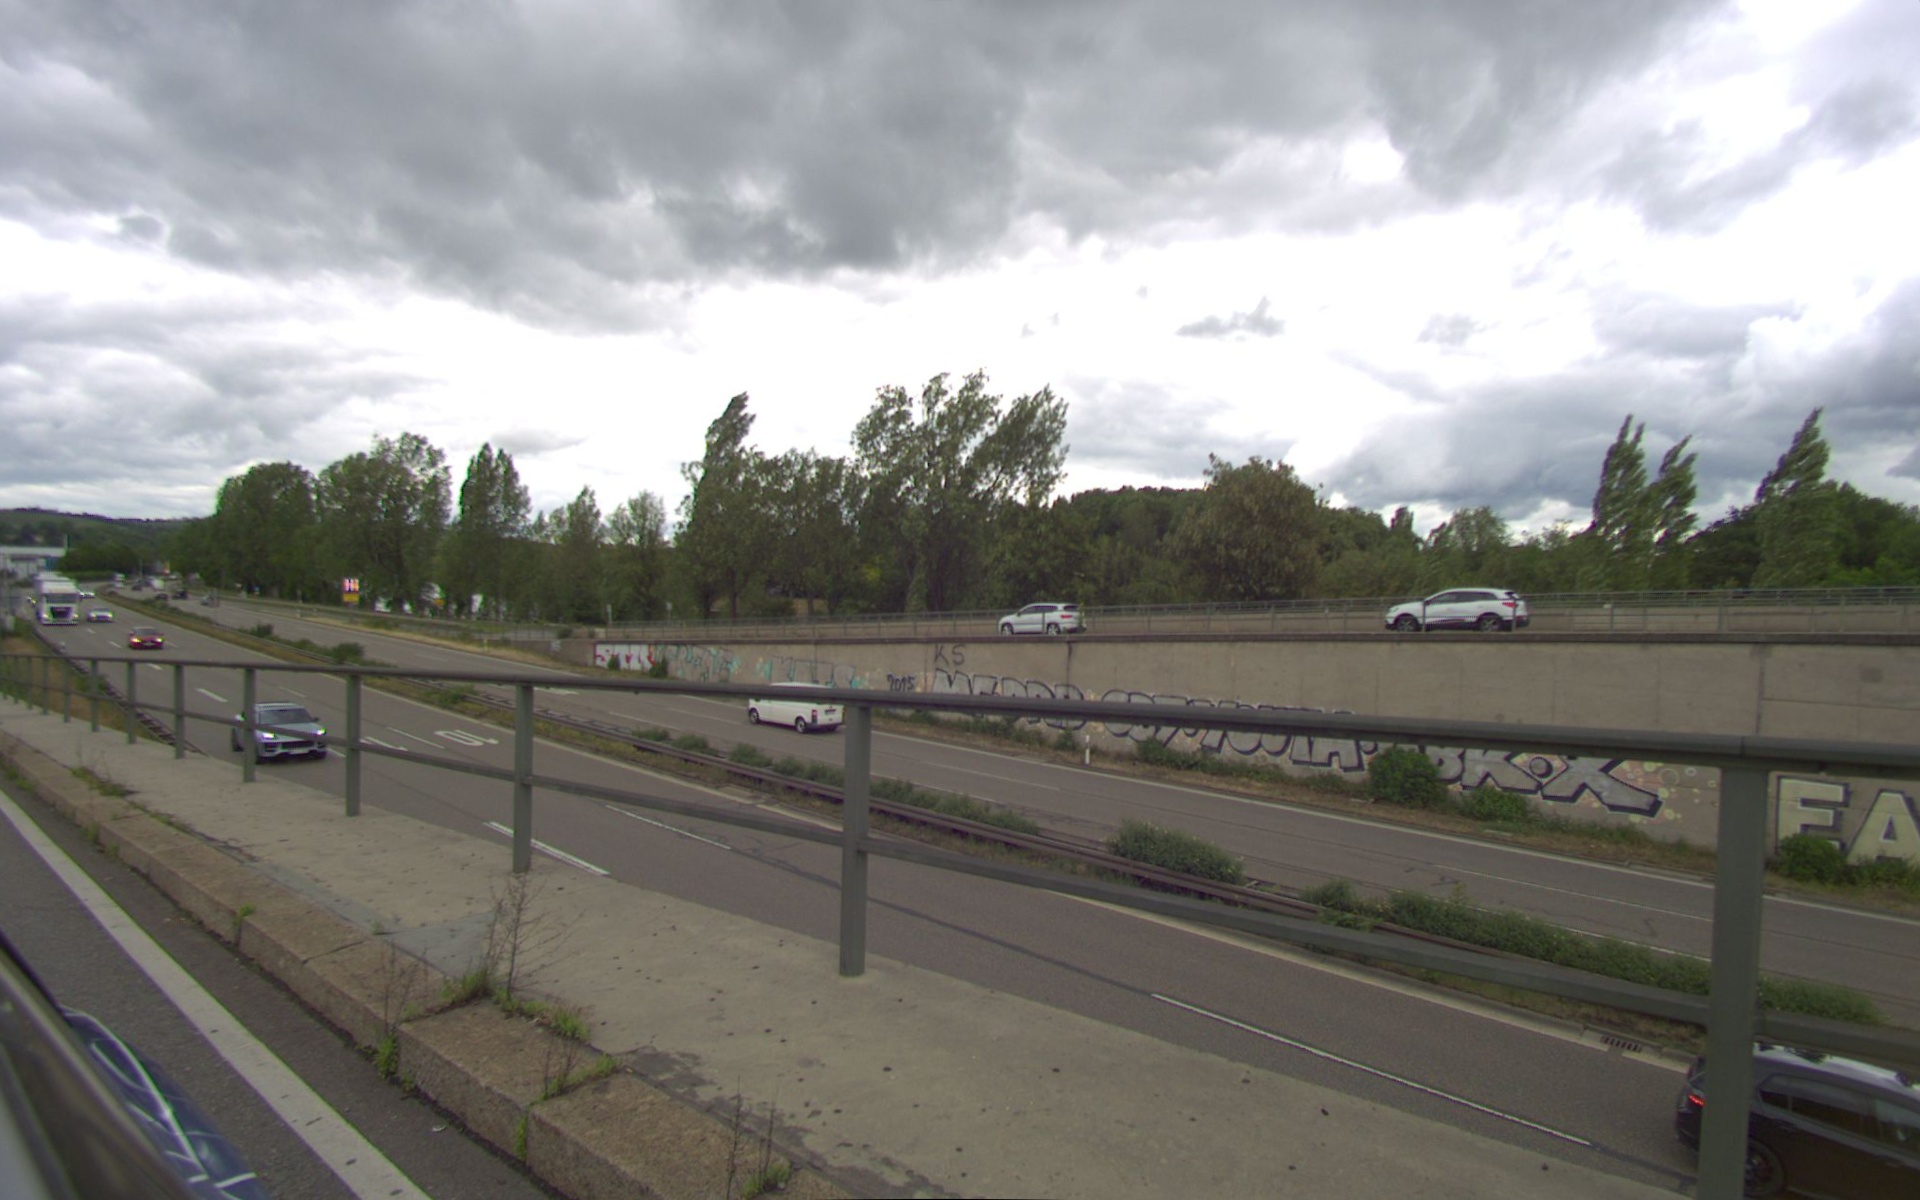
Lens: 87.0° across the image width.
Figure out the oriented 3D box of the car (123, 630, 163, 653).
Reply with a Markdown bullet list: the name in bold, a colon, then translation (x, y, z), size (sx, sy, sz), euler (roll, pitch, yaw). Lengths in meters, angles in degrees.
- **car**: translation (-57.462, 2.890, 71.169), size (4.167, 1.451, 1.732), euler (-1, -1, 44)

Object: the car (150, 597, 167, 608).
- **car**: translation (-130.928, 0.393, 165.300), size (3.859, 1.512, 1.645), euler (3, 0, 43)

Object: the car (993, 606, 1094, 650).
- **car**: translation (3.744, 1.262, 45.860), size (4.211, 1.884, 1.973), euler (-2, -2, 41)

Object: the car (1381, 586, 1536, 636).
- **car**: translation (16.822, 0.412, 34.281), size (4.346, 1.588, 1.813), euler (-2, -2, 43)

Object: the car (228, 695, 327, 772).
- **car**: translation (-22.634, 4.330, 33.496), size (4.281, 1.813, 1.820), euler (4, 2, 43)

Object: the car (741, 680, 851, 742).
- **car**: translation (-7.304, 4.829, 44.666), size (5.177, 2.082, 1.972), euler (2, 1, 42)

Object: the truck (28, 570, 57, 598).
- **truck**: translation (-159.171, -2.775, 175.456), size (11.130, 4.559, 3.136), euler (2, 1, 45)

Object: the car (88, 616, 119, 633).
- **car**: translation (-84.488, 2.410, 99.803), size (4.279, 1.429, 1.894), euler (3, 2, 44)

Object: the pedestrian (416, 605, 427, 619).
- **pedestrian**: translation (-65.606, 1.485, 123.339), size (1.078, 1.718, 0.820), euler (2, 2, 43)

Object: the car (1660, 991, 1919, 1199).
- **car**: translation (10.062, 5.755, 10.634), size (4.221, 1.581, 1.730), euler (2, 1, 43)

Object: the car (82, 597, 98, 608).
- **car**: translation (-146.897, 0.429, 170.853), size (1.832, 1.619, 4.171), euler (3, -1, -42)

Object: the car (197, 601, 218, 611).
- **car**: translation (-112.259, 0.920, 150.970), size (4.111, 1.386, 1.692), euler (2, 0, 43)

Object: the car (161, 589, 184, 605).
- **car**: translation (-138.580, -0.544, 178.139), size (6.114, 2.566, 2.220), euler (2, 1, 43)

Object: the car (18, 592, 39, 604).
- **car**: translation (-130.742, -0.300, 142.021), size (4.165, 1.619, 1.834), euler (2, -1, 42)

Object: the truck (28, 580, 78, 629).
- **truck**: translation (-83.186, 0.362, 92.818), size (6.698, 4.283, 2.721), euler (2, 0, 43)
